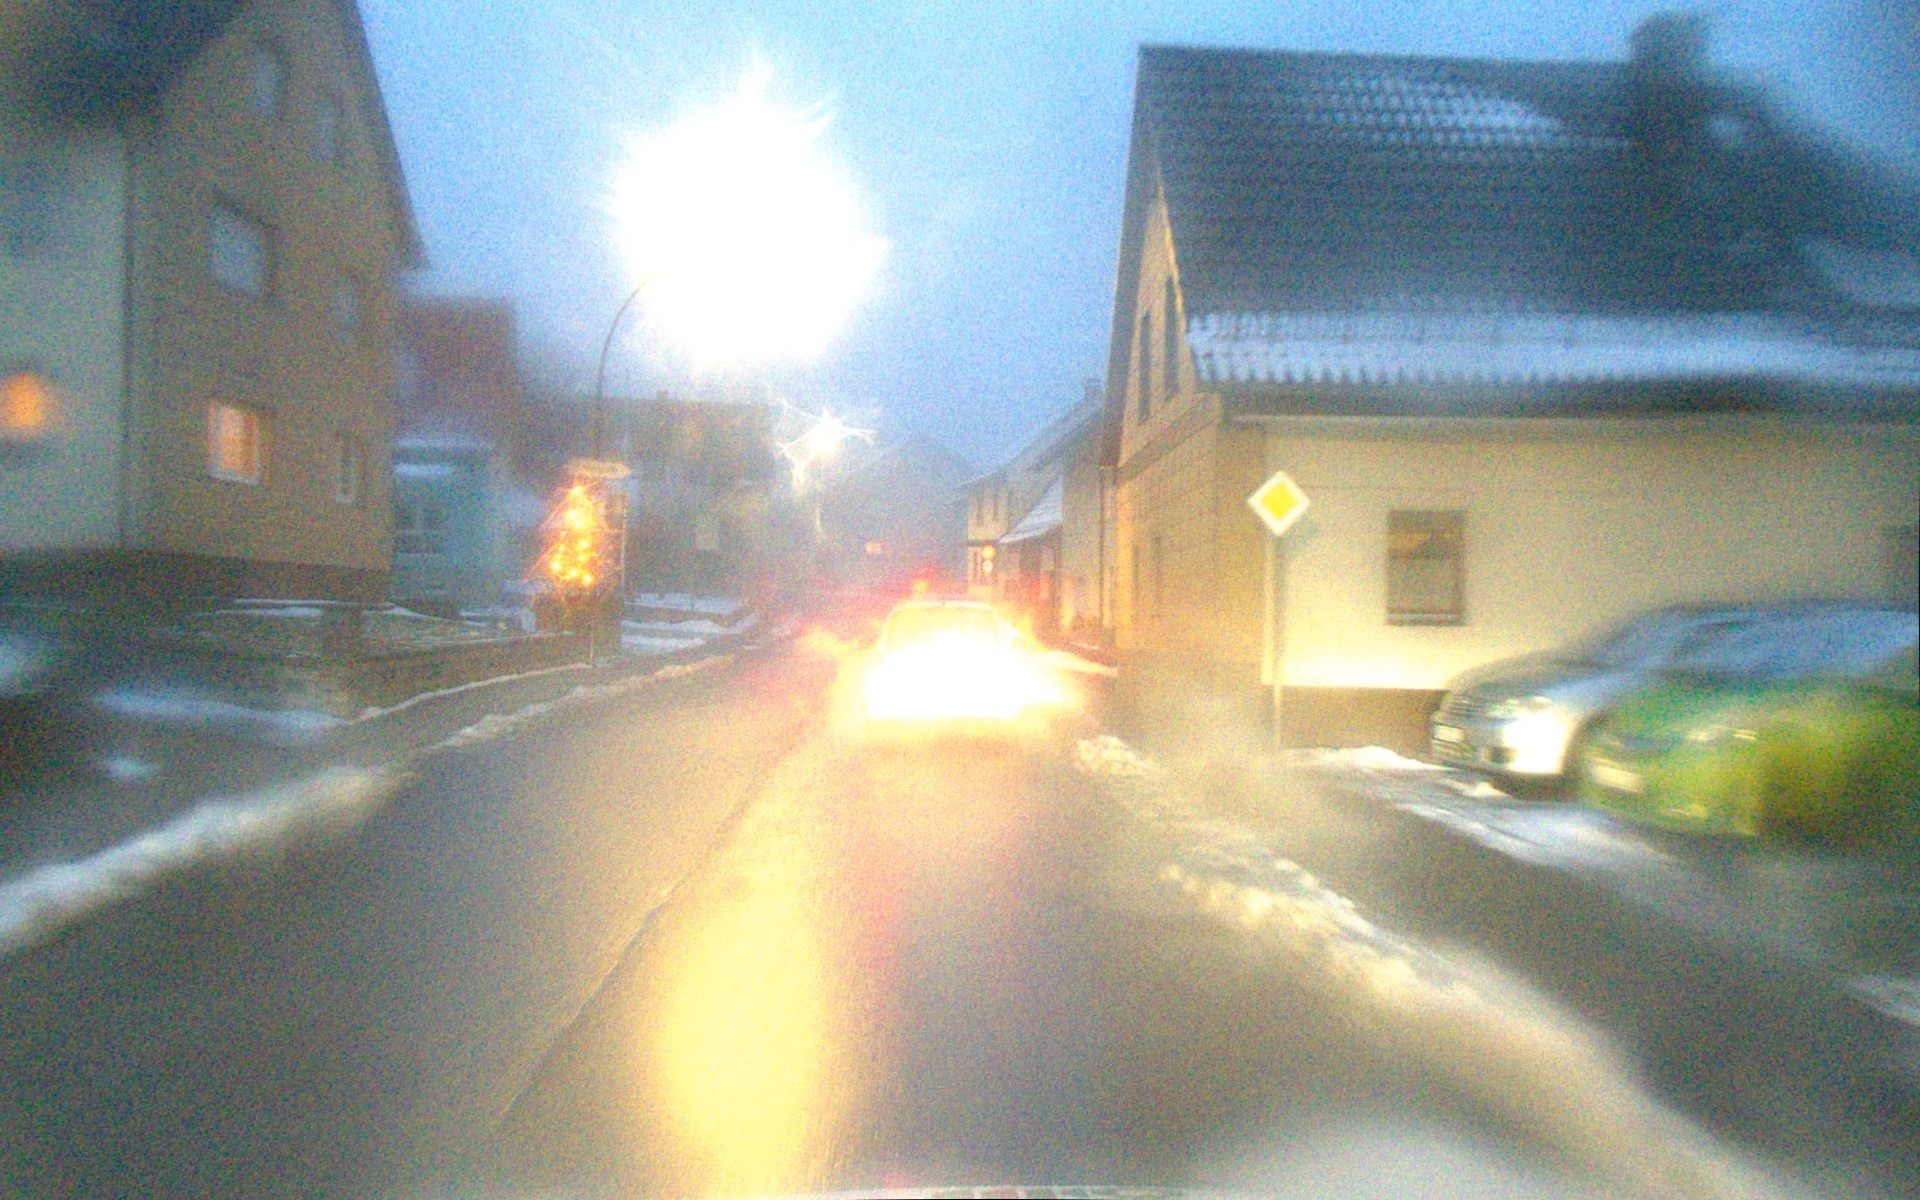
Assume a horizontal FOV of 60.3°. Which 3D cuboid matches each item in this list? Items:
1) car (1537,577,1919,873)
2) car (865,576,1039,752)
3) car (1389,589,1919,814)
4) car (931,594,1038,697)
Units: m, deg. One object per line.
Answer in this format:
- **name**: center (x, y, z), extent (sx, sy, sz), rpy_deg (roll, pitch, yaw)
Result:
- **car**: center (5.527, 0.653, 9.630), extent (3.669, 1.523, 1.819), rpy_deg (1, 0, -7)
- **car**: center (-0.150, 0.640, 17.819), extent (1.612, 1.624, 3.697), rpy_deg (2, -1, -2)
- **car**: center (5.605, 0.734, 12.600), extent (4.089, 1.458, 1.899), rpy_deg (2, 1, -6)
- **car**: center (0.380, 0.775, 29.112), extent (1.612, 1.624, 3.697), rpy_deg (2, -1, -2)
